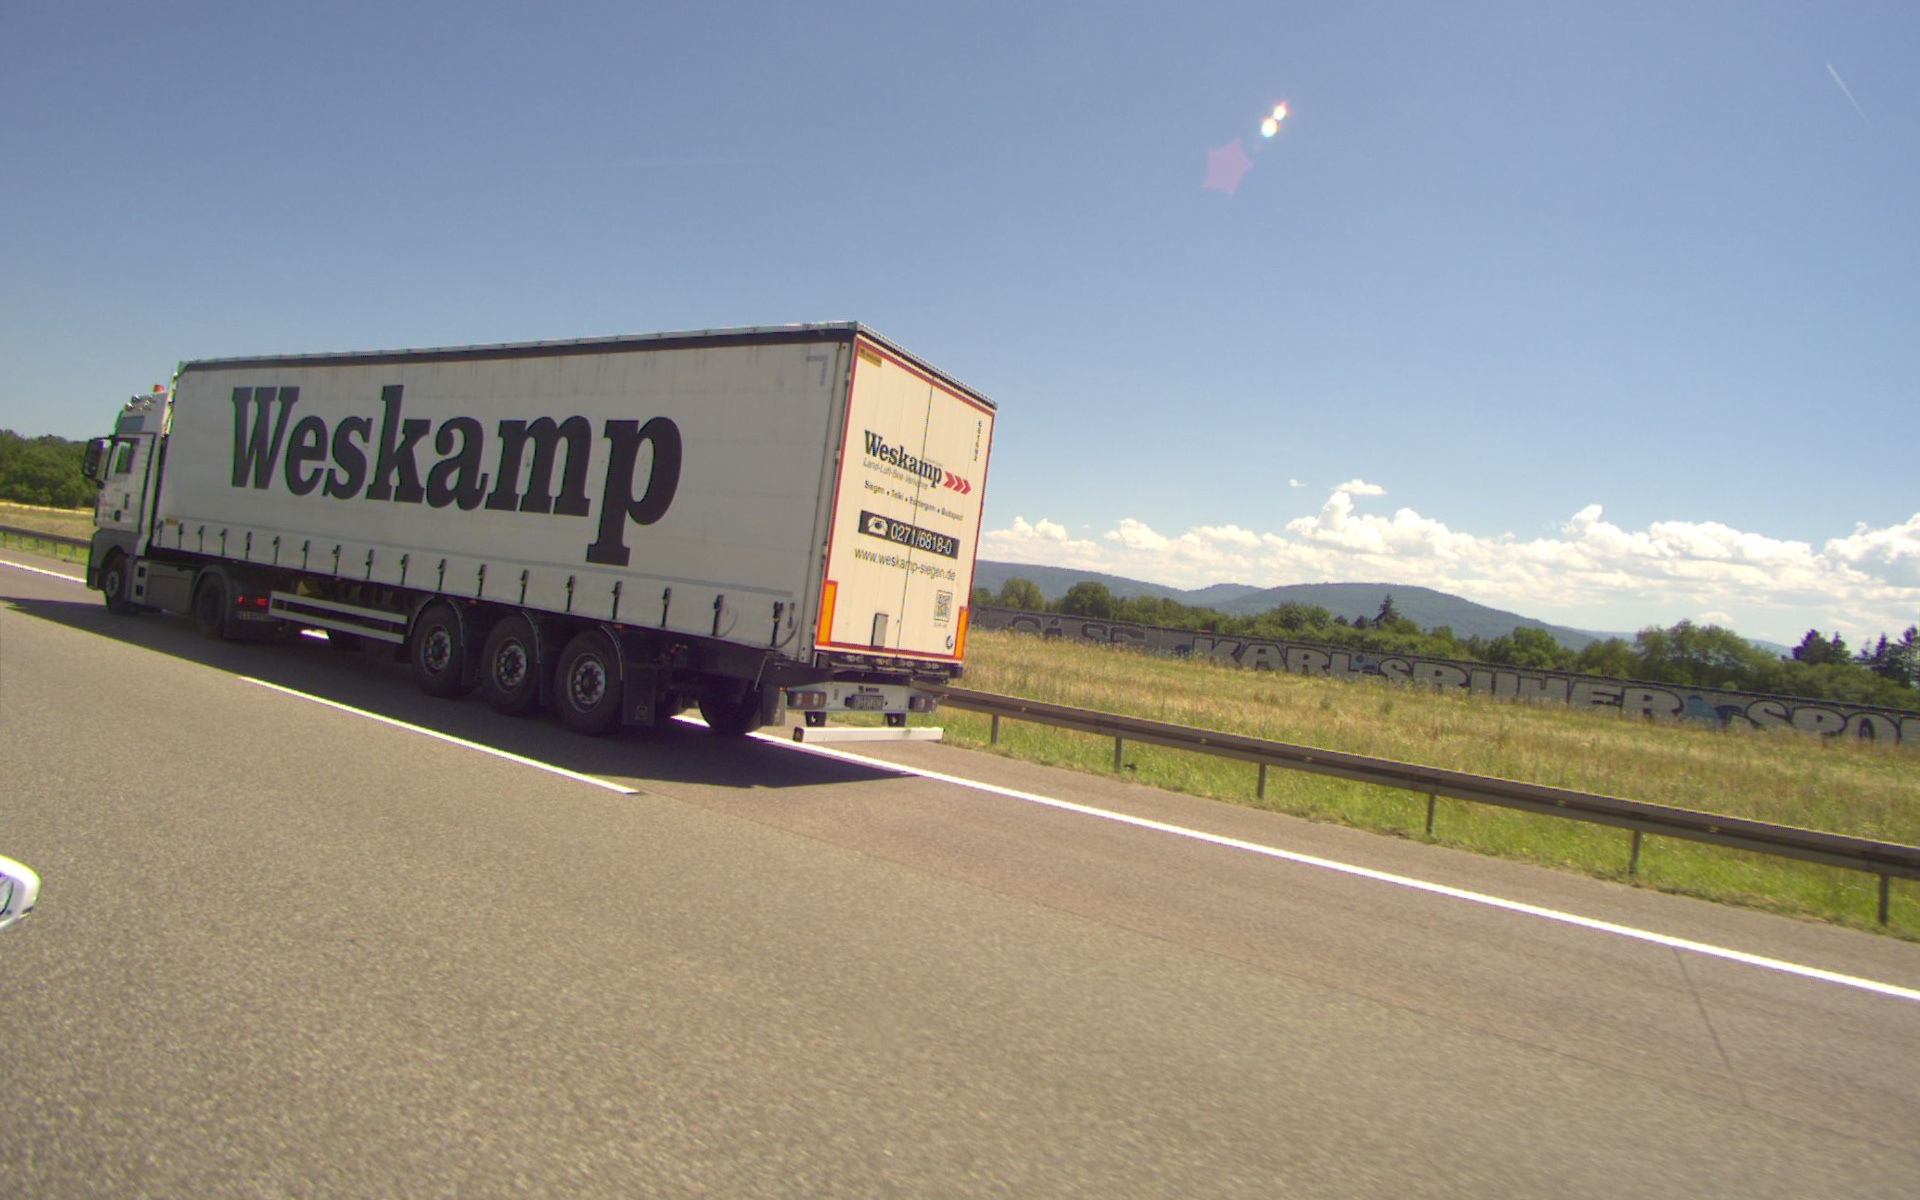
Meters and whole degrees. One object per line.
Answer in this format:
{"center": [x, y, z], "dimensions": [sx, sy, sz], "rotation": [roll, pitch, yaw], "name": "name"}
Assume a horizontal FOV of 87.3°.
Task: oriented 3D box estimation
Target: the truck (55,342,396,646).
{"center": [-12.522, -1.730, 17.097], "dimensions": [5.005, 4.305, 2.605], "rotation": [7, -1, 32], "name": "truck"}

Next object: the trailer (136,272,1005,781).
{"center": [-6.098, -1.061, 13.085], "dimensions": [13.416, 4.301, 2.600], "rotation": [6, -2, 32], "name": "trailer"}
